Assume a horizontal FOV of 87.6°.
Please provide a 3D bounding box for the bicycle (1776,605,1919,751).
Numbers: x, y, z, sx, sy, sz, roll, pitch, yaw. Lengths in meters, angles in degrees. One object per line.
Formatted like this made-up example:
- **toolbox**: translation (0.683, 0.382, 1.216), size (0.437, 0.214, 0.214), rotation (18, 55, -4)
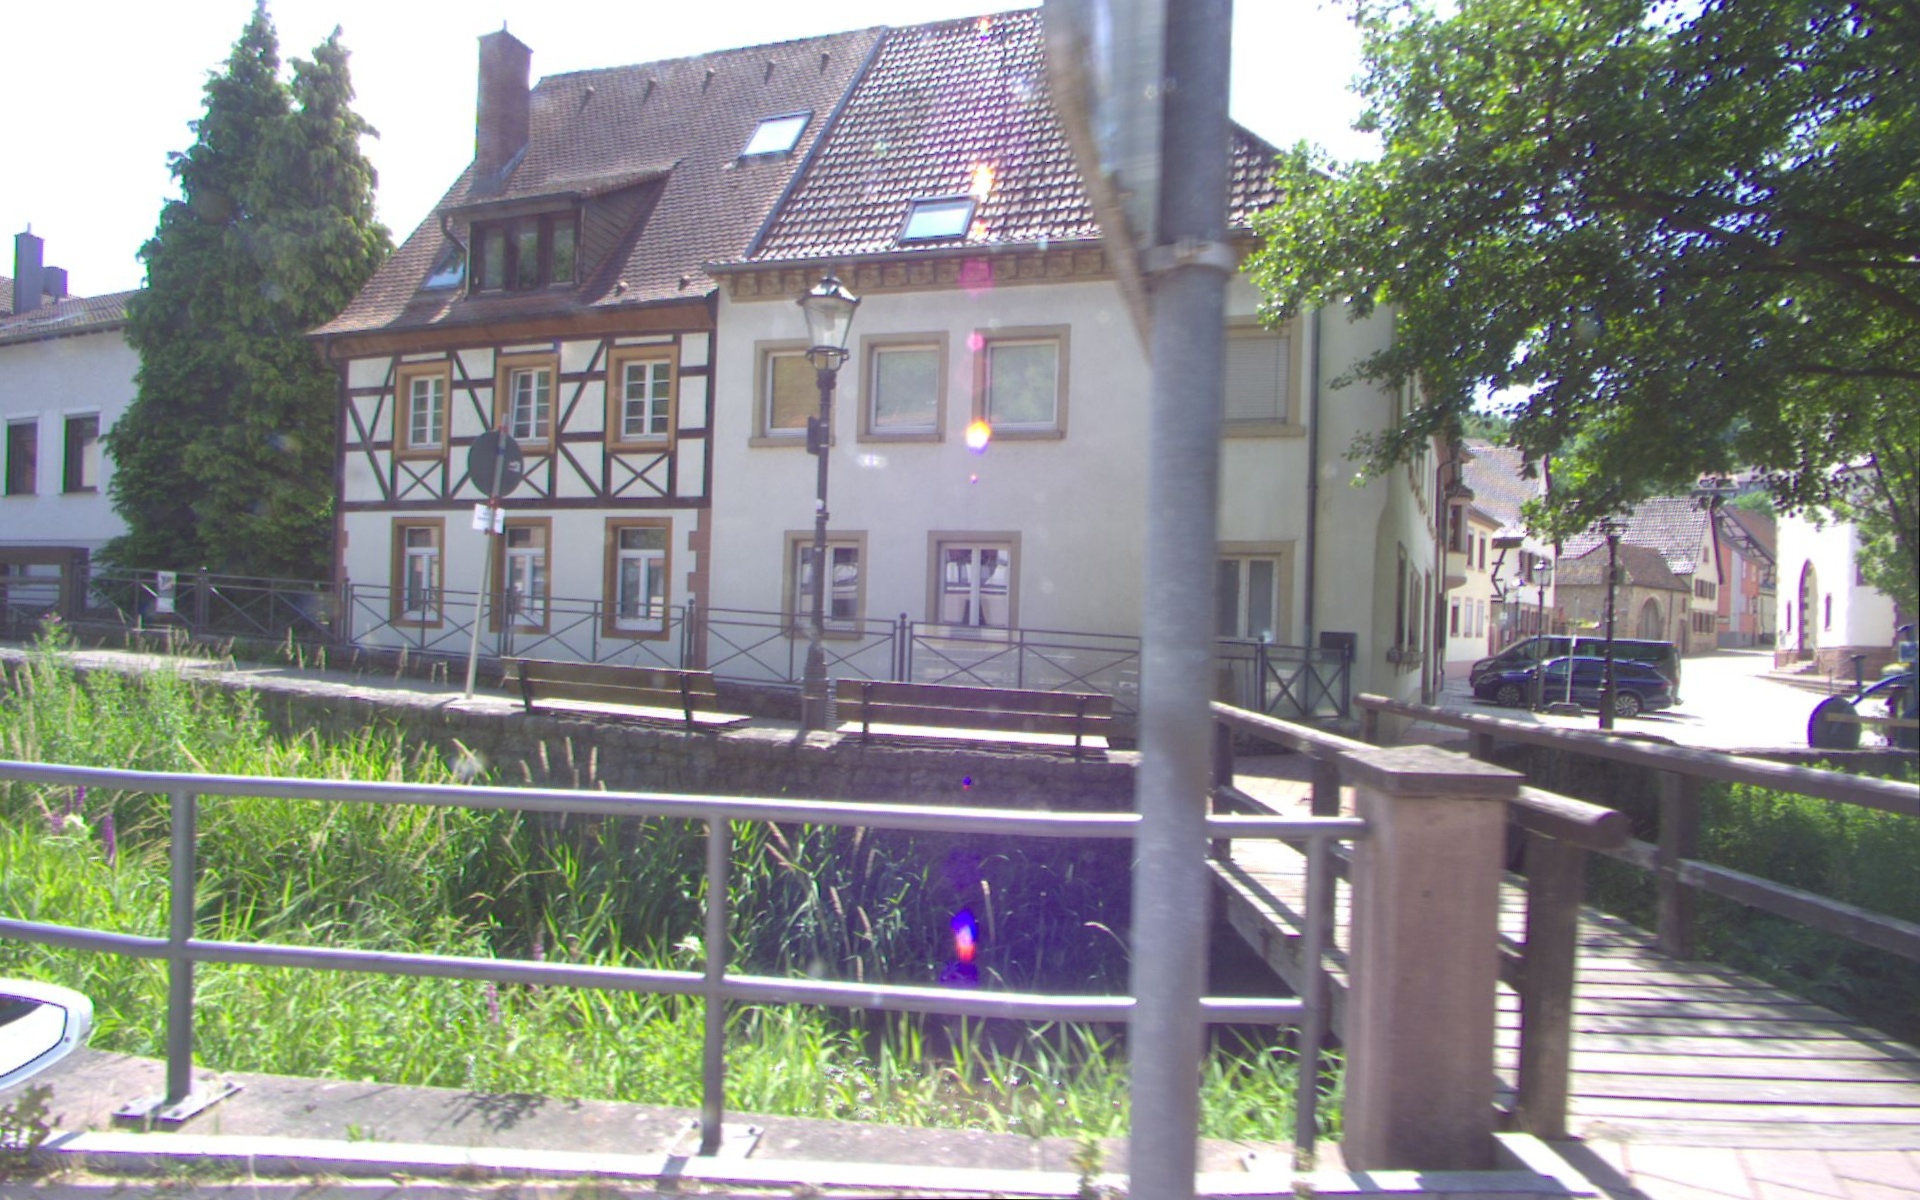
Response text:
- **bicycle**: translation (13.563, 1.172, 14.804), size (2.617, 2.037, 0.783), rotation (2, -4, -11)

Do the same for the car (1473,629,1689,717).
- **car**: translation (17.739, 2.016, 28.940), size (5.043, 2.054, 1.951), rotation (3, 1, 29)

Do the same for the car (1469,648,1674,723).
- **car**: translation (16.120, 2.199, 26.654), size (4.469, 1.501, 1.583), rotation (3, 1, 29)
